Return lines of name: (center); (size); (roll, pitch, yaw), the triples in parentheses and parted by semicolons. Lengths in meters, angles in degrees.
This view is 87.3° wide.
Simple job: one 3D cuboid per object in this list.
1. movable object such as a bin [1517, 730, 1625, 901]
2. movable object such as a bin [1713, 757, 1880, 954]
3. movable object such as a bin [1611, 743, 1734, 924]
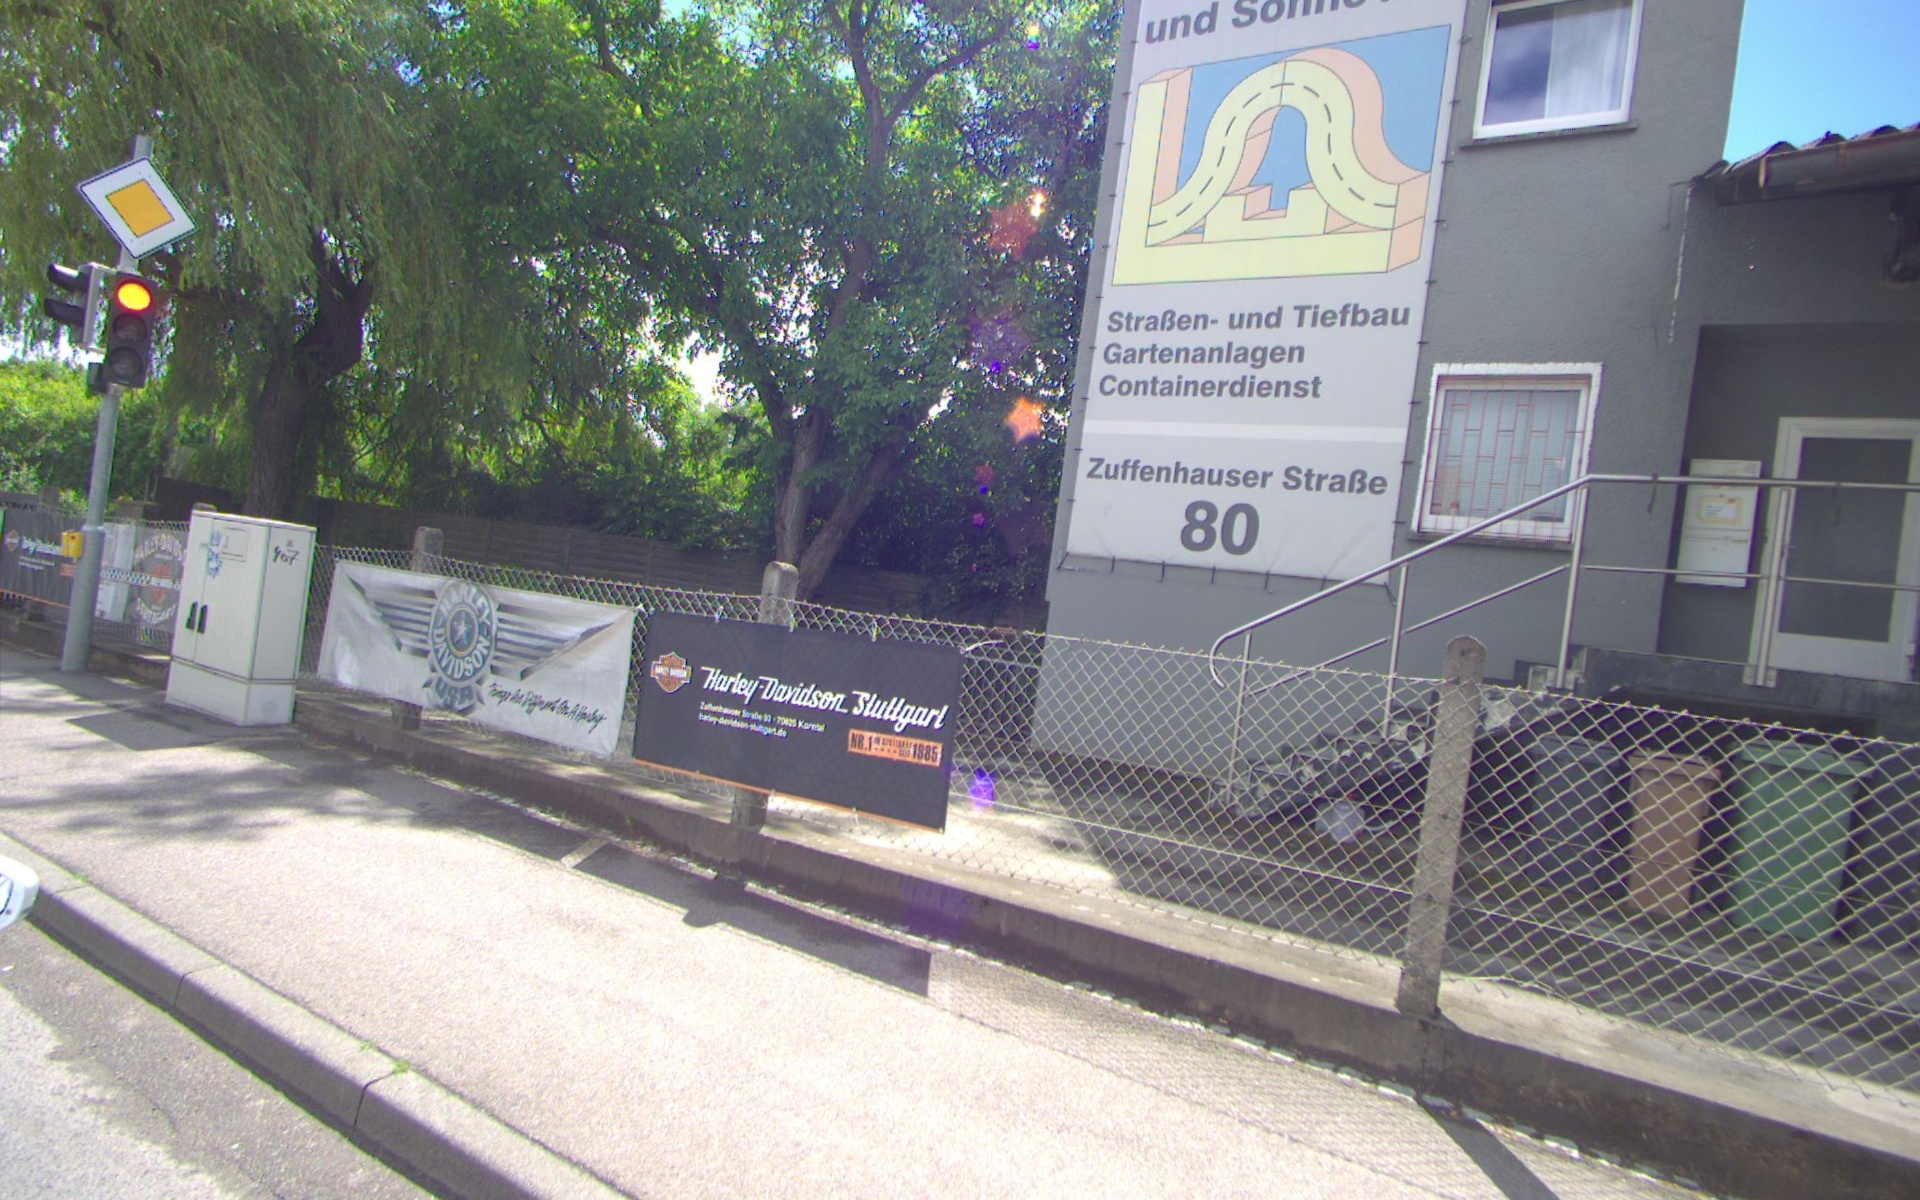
movable object such as a bin: (3.809, 1.323, 6.298); (0.466, 0.941, 0.482); (7, -1, 30)
movable object such as a bin: (4.750, 1.426, 5.745); (0.574, 0.941, 0.482); (6, -1, 30)
movable object such as a bin: (4.254, 1.371, 6.035); (0.466, 0.941, 0.482); (7, -1, 30)
